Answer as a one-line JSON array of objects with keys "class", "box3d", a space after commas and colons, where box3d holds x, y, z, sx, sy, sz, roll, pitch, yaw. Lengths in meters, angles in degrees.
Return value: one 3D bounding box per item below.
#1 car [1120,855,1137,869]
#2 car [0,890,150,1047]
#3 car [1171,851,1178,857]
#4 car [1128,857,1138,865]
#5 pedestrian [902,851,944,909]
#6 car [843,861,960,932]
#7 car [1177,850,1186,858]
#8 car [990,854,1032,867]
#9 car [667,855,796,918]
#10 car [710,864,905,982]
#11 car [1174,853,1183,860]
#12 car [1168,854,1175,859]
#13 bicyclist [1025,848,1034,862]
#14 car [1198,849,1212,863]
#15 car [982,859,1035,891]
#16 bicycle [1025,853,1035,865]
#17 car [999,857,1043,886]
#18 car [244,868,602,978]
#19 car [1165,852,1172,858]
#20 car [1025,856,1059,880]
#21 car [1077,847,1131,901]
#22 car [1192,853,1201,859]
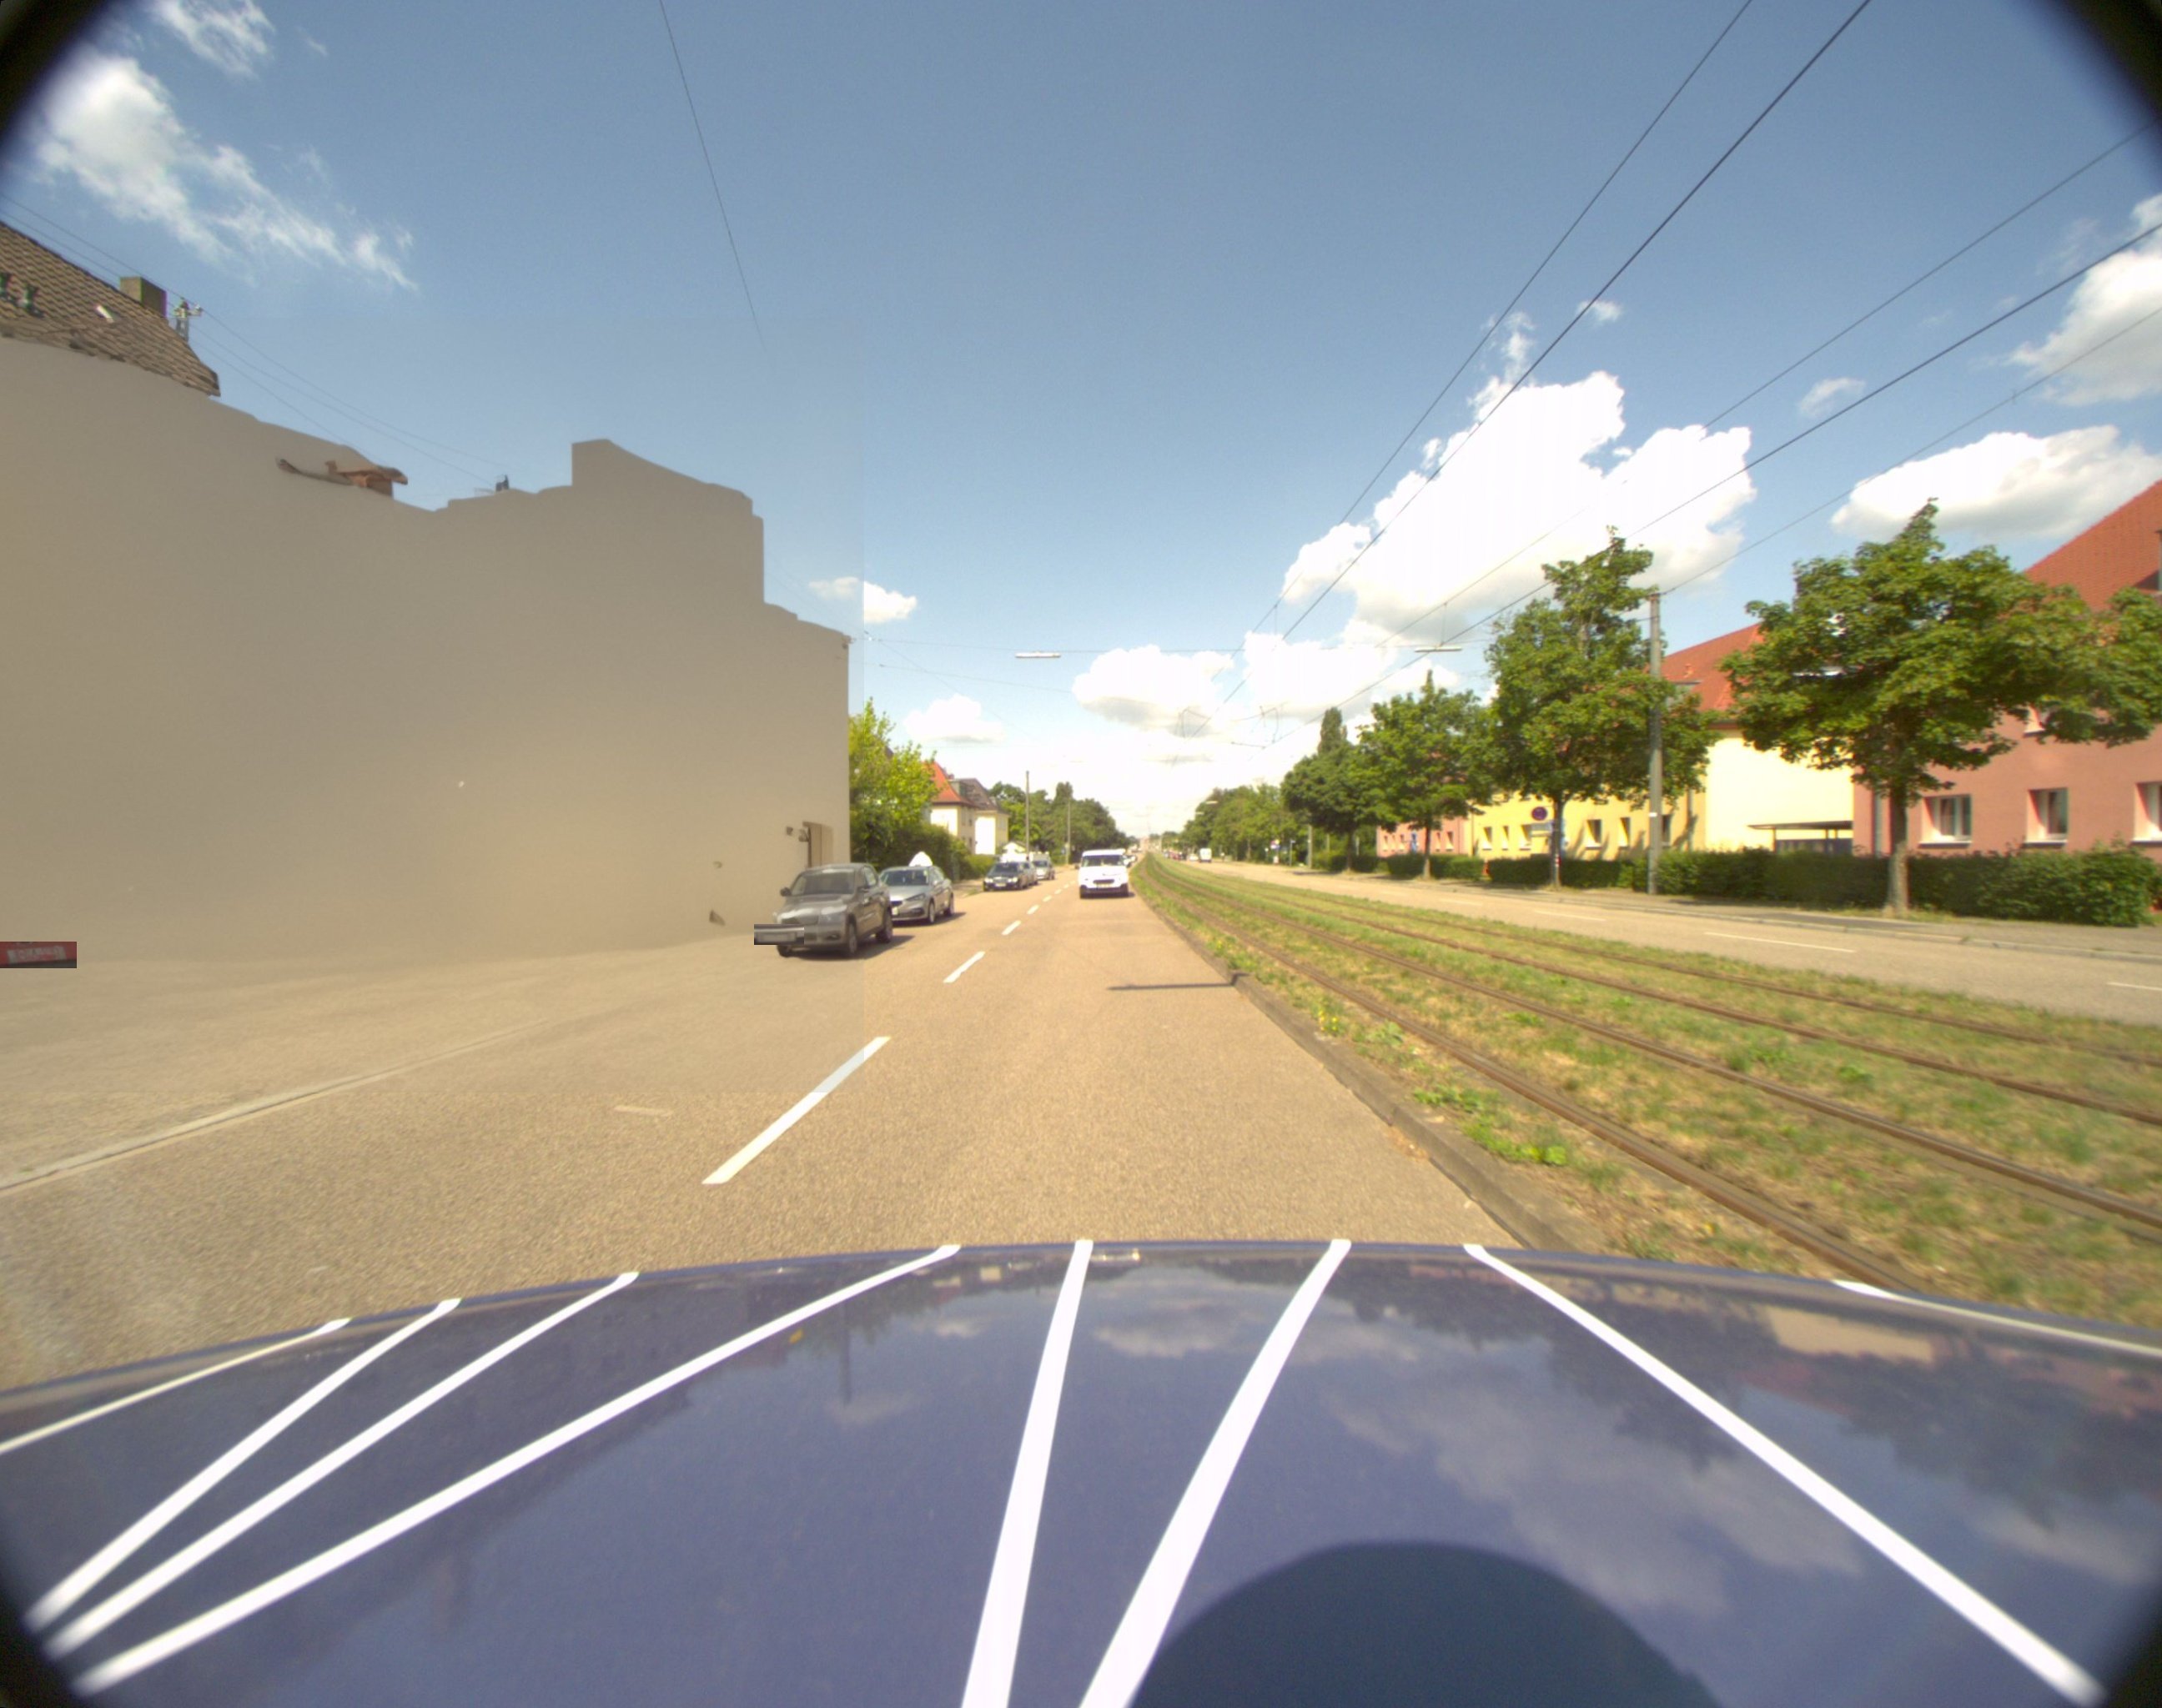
[{"class": "car", "box3d": [6.001, 1.032, 94.901, 1.998, 1.576, 4.001, -2, 1, 4]}, {"class": "car", "box3d": [-11.777, 1.119, 7.200, 3.658, 1.372, 1.726, -1, 1, -1]}, {"class": "car", "box3d": [24.791, -0.037, 201.117, 1.731, 1.386, 4.278, 0, 0, 6]}, {"class": "car", "box3d": [10.210, 1.341, 149.367, 1.998, 1.477, 4.000, -2, 1, 3]}, {"class": "pedestrian", "box3d": [-5.447, 0.874, 26.291, 1.114, 1.935, 1.092, -1, 1, 4]}, {"class": "car", "box3d": [-4.417, 0.982, 19.490, 1.819, 1.446, 4.642, -2, 1, 0]}, {"class": "car", "box3d": [22.001, -0.006, 166.285, 1.689, 1.736, 4.229, -1, 0, 4]}, {"class": "car", "box3d": [-7.931, 0.744, 86.272, 4.458, 1.452, 1.764, 1, 1, 5]}, {"class": "car", "box3d": [-10.341, 0.883, 22.924, 1.761, 1.637, 4.768, 0, 1, -1]}, {"class": "car", "box3d": [-4.477, 1.033, 13.204, 1.812, 1.550, 4.252, -2, 1, -1]}, {"class": "car", "box3d": [23.960, 0.633, 187.028, 1.731, 1.569, 4.277, -1, 0, 3]}, {"class": "car", "box3d": [26.158, 0.696, 219.509, 2.120, 1.642, 4.278, 0, 0, 6]}, {"class": "bicyclist", "box3d": [-4.953, 0.101, 73.630, 0.689, 1.345, 0.665, 0, 1, 11]}, {"class": "car", "box3d": [22.459, 0.296, 137.978, 2.036, 2.422, 5.779, 1, 0, 5]}, {"class": "car", "box3d": [-3.609, 1.010, 38.679, 1.904, 1.435, 5.058, -2, 0, 3]}, {"class": "bicycle", "box3d": [-4.961, 0.477, 73.585, 0.556, 1.059, 1.524, 0, 0, 11]}, {"class": "car", "box3d": [-3.415, 0.985, 44.114, 1.894, 1.447, 5.006, -2, 1, 2]}, {"class": "car", "box3d": [-10.662, 0.998, 12.965, 1.803, 1.415, 4.857, 0, 0, 1]}, {"class": "car", "box3d": [28.629, 0.305, 248.403, 2.120, 1.642, 4.278, 0, 0, 6]}, {"class": "car", "box3d": [-2.697, 0.945, 53.427, 1.741, 1.481, 4.095, -2, 1, 5]}, {"class": "car", "box3d": [0.801, 0.698, 28.812, 1.777, 1.850, 4.374, -2, 0, -1]}, {"class": "car", "box3d": [25.983, 0.394, 170.584, 1.689, 1.422, 4.278, -1, 0, 4]}]
